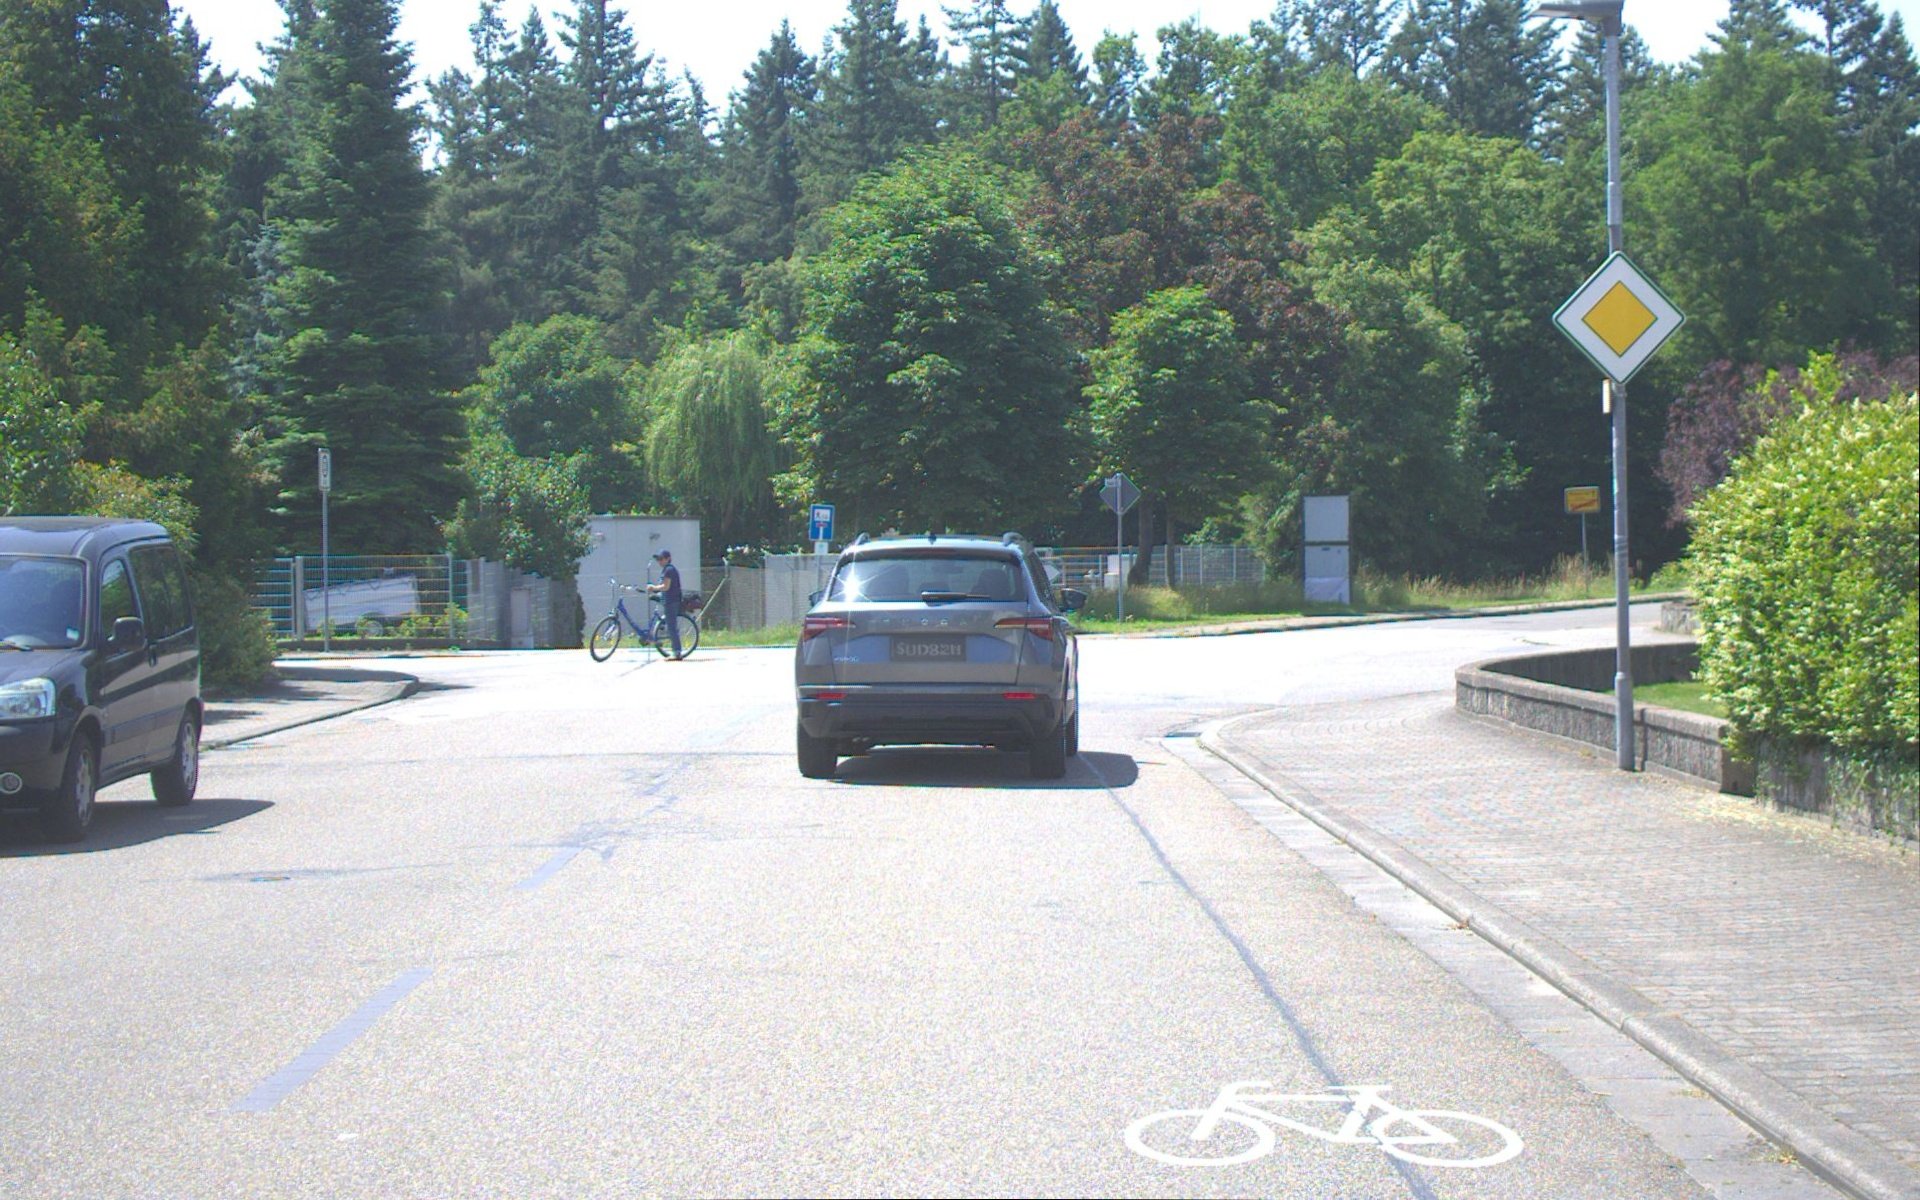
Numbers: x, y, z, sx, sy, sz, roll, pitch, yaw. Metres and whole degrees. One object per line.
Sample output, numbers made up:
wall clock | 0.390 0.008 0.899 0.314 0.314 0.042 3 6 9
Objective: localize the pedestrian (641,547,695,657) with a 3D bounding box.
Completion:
pedestrian | -4.016 0.022 47.316 0.610 1.495 0.504 -1 1 -21

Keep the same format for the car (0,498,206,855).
car | -5.612 0.378 19.777 1.718 1.839 4.055 -1 1 -1

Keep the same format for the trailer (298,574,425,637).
trailer | -10.878 0.095 62.552 2.214 1.080 1.106 -1 1 -8

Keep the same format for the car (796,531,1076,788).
car | -0.201 0.351 23.831 1.762 1.612 4.000 1 1 -1

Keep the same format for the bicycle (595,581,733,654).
bicycle | -4.115 0.236 47.805 1.842 0.960 0.443 -1 1 -20
